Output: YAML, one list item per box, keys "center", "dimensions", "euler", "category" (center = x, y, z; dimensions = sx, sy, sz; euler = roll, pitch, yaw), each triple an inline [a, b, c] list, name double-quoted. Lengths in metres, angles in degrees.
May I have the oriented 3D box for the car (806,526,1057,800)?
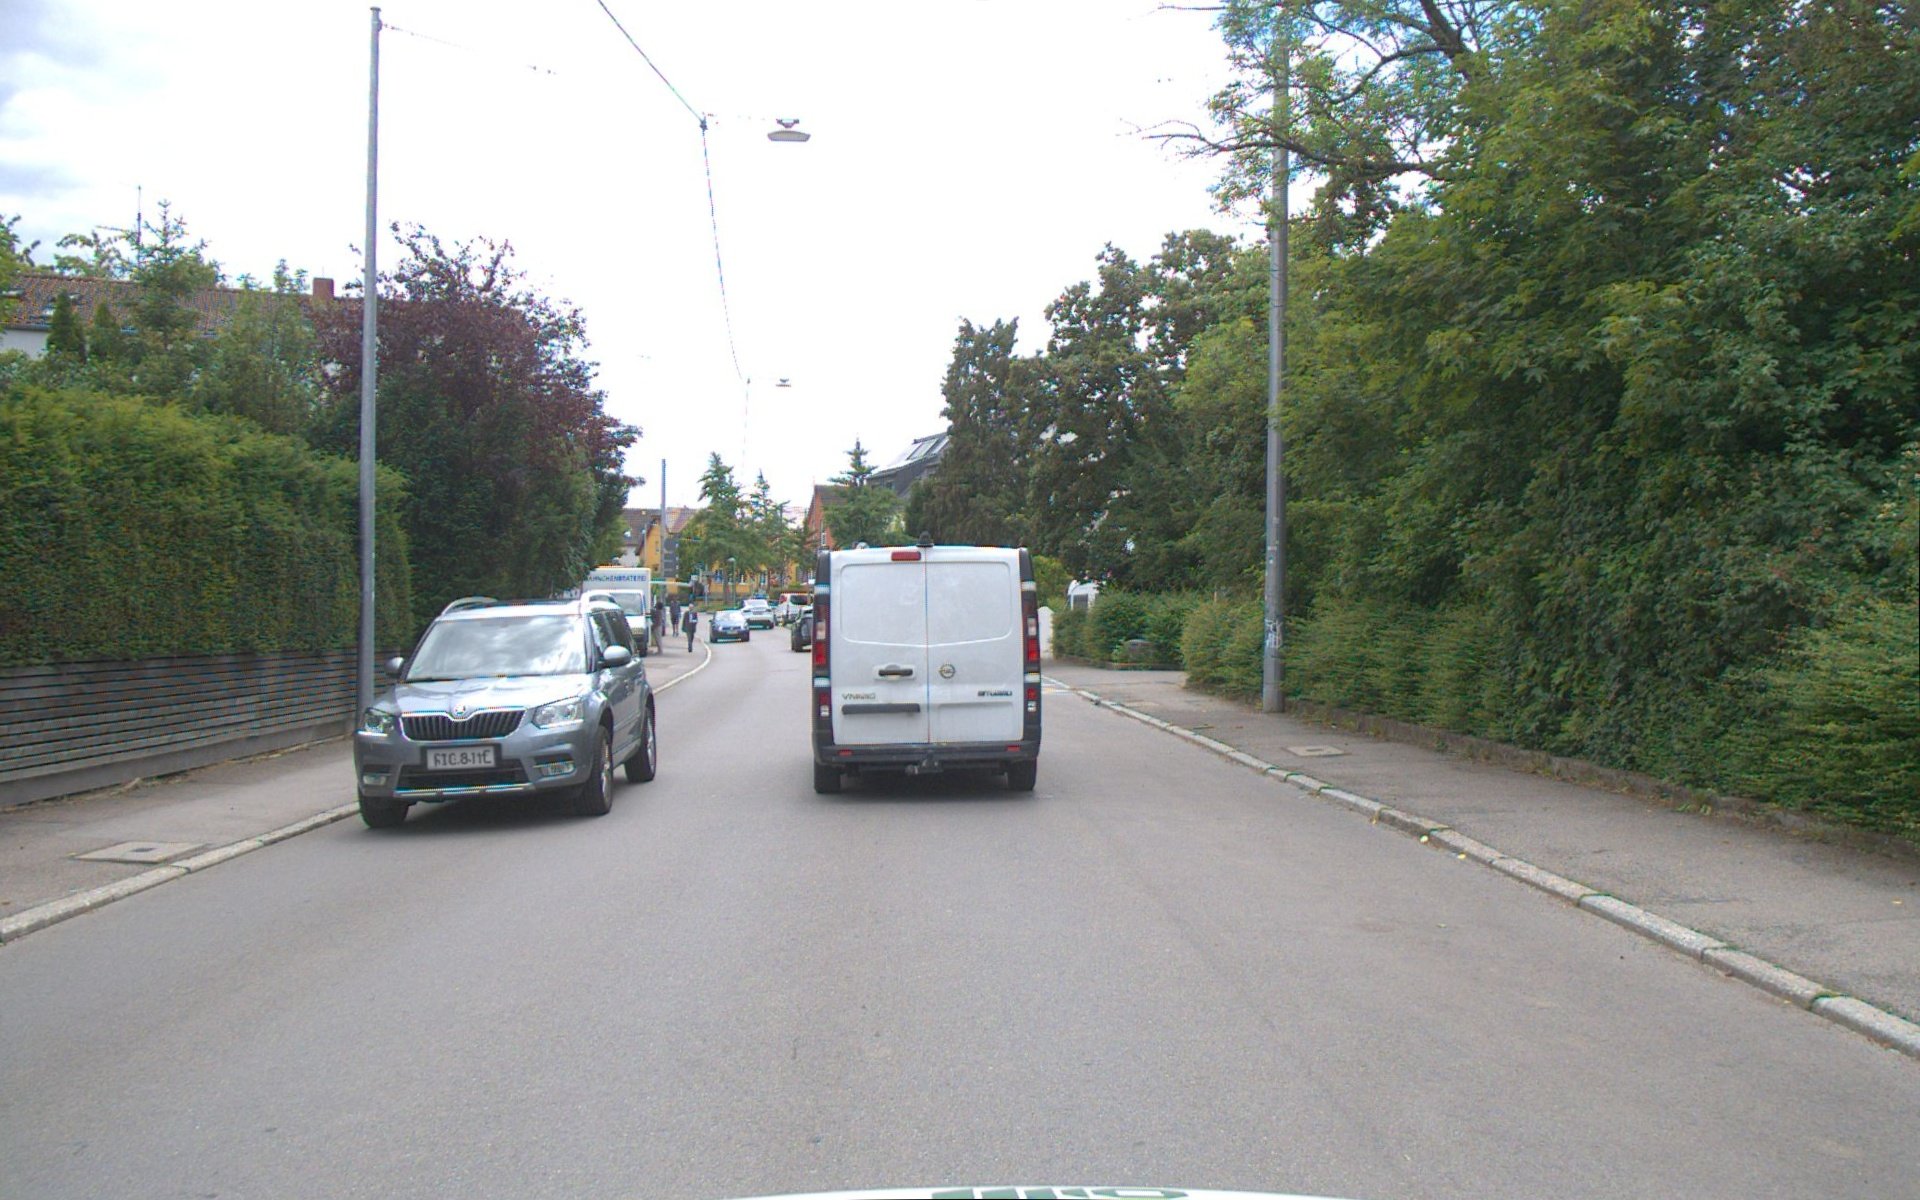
- center: [-0.401, 0.488, 14.672]
  dimensions: [1.878, 2.038, 4.433]
  euler: [-1, -1, -5]
  category: "car"

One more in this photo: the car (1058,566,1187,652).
- center: [5.495, 0.307, 56.726]
  dimensions: [2.459, 2.729, 5.159]
  euler: [2, -1, -18]
  category: "car"

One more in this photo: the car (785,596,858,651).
- center: [-5.010, 0.813, 59.456]
  dimensions: [1.960, 1.880, 3.984]
  euler: [-1, 0, -15]
  category: "car"

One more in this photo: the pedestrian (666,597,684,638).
- center: [-14.028, 0.876, 81.403]
  dimensions: [0.719, 1.980, 1.216]
  euler: [2, -1, -6]
  category: "pedestrian"

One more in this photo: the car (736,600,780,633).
- center: [-11.540, 0.907, 94.182]
  dimensions: [1.960, 1.813, 3.984]
  euler: [-1, 0, -15]
  category: "car"

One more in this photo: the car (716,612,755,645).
- center: [-10.466, 1.326, 77.290]
  dimensions: [1.661, 1.457, 3.922]
  euler: [3, -1, -6]
  category: "car"

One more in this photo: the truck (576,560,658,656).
- center: [-11.113, 0.272, 53.699]
  dimensions: [2.429, 2.890, 6.688]
  euler: [0, 0, -12]
  category: "truck"

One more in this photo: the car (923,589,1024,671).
- center: [0.253, 0.715, 40.896]
  dimensions: [1.872, 1.881, 5.150]
  euler: [1, -1, -7]
  category: "car"

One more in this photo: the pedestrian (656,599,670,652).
- center: [-9.754, 0.837, 54.303]
  dimensions: [0.394, 1.724, 0.595]
  euler: [2, -1, -12]
  category: "pedestrian"

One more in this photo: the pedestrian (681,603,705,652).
- center: [-9.579, 0.996, 59.366]
  dimensions: [0.709, 1.716, 1.107]
  euler: [2, -1, -7]
  category: "pedestrian"

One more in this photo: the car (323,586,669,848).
- center: [-3.520, 0.817, 13.344]
  dimensions: [1.804, 1.684, 4.135]
  euler: [-3, -1, -4]
  category: "car"
